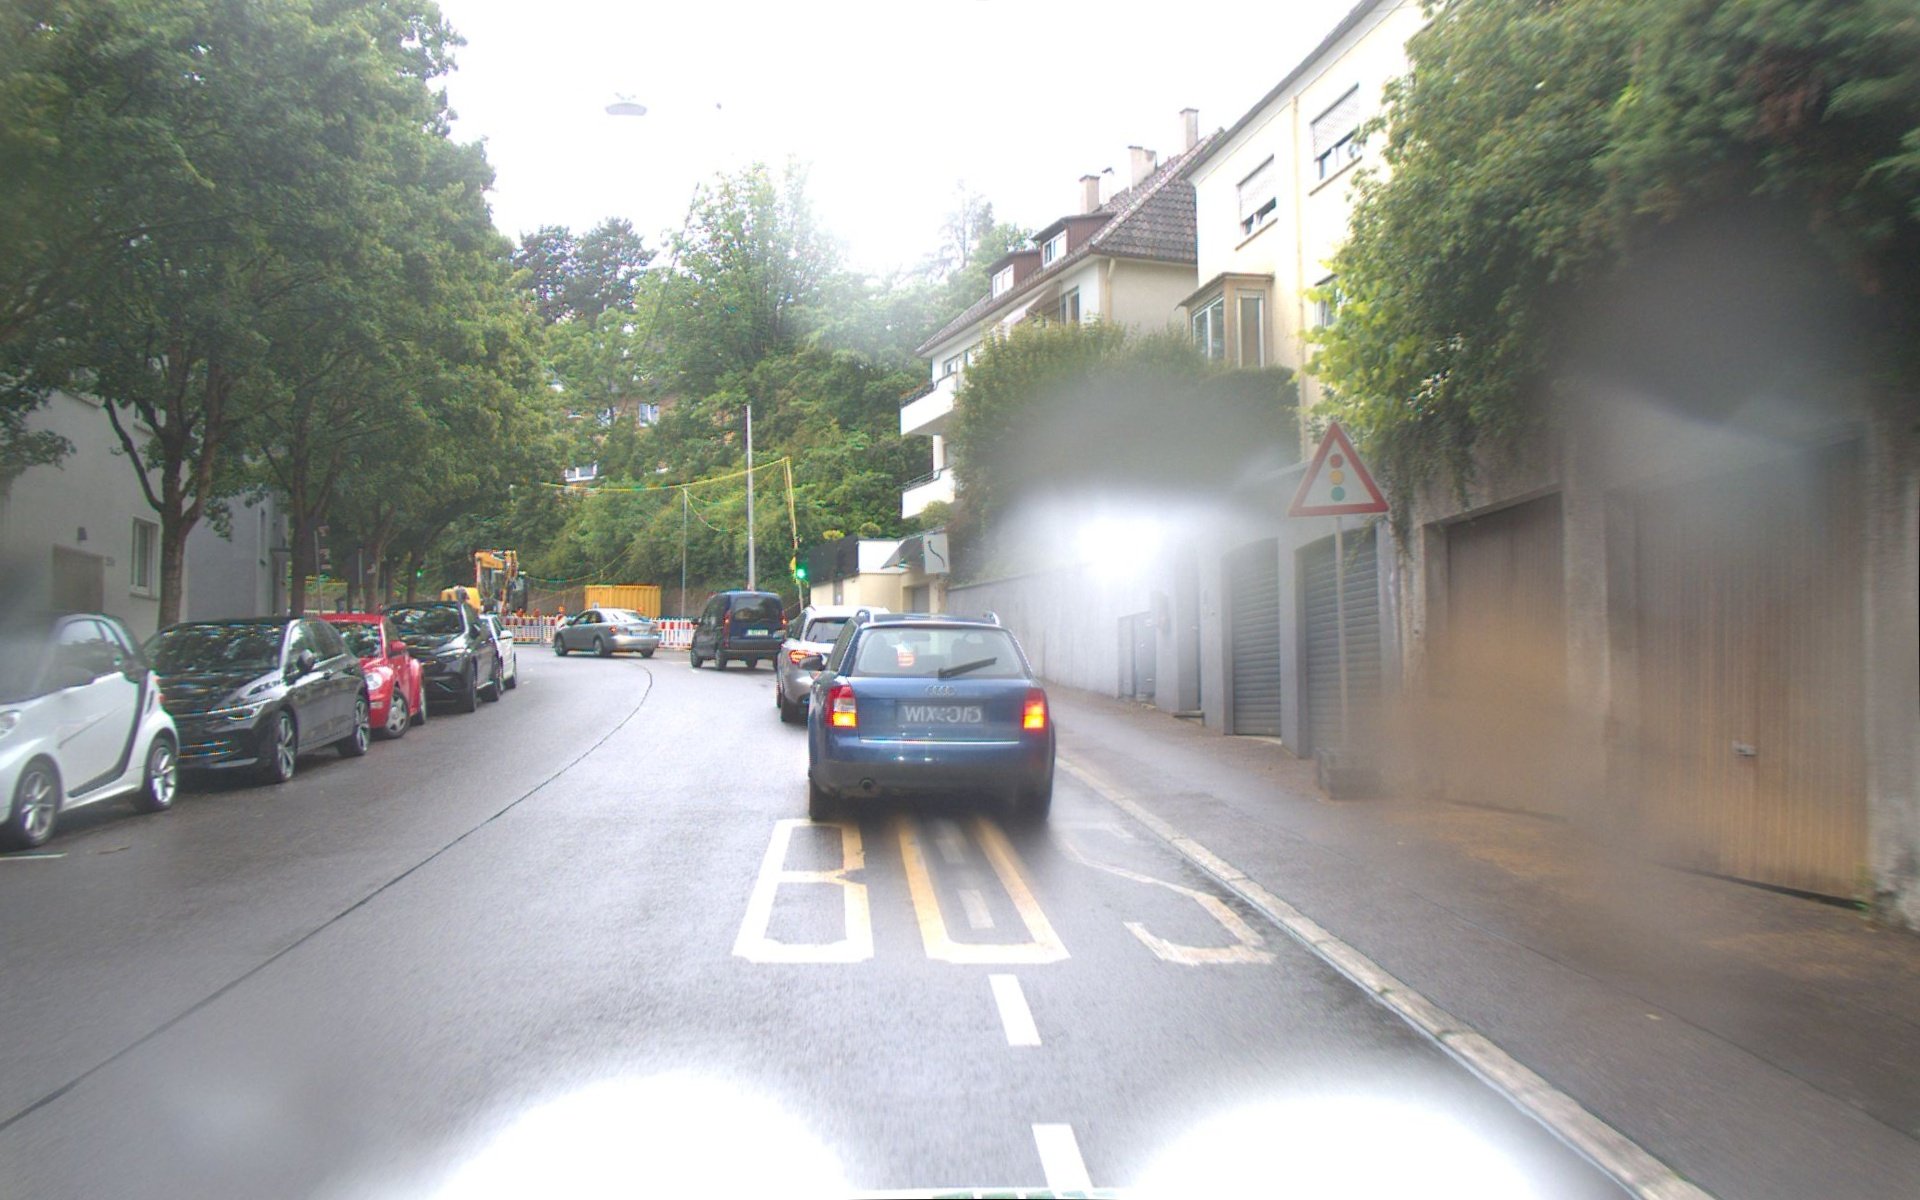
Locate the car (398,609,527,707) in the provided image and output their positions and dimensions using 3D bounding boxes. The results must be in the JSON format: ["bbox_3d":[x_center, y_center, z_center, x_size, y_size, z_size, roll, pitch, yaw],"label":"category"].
[{"bbox_3d":[-9.143,1.008,30.699,1.651,1.534,4.306,-4,1,-9],"label":"car"}]

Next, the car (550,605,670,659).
[{"bbox_3d":[-10.535,0.969,49.611,1.712,1.512,4.013,-2,0,-42],"label":"car"}]

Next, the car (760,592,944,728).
[{"bbox_3d":[-1.566,0.721,22.376,1.892,1.646,4.307,0,0,-12],"label":"car"}]

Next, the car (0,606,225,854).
[{"bbox_3d":[-6.775,0.885,11.909,1.525,1.537,3.381,-4,-1,-3],"label":"car"}]

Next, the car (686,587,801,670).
[{"bbox_3d":[-5.260,0.663,39.814,1.964,1.825,3.978,-2,0,-19],"label":"car"}]

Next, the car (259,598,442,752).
[{"bbox_3d":[-7.446,0.886,20.512,1.606,1.592,3.834,-5,0,-14],"label":"car"}]

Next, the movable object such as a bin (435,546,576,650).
[{"bbox_3d":[-18.815,-0.090,68.195,2.804,4.084,7.217,0,0,-41],"label":"movable object such as a bin"}]

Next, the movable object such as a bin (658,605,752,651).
[{"bbox_3d":[-9.220,0.990,59.575,1.974,1.546,3.957,1,0,-31],"label":"movable object such as a bin"}]

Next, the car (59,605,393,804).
[{"bbox_3d":[-6.740,0.892,15.664,1.525,1.514,4.093,-4,-1,-5],"label":"car"}]

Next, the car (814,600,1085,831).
[{"bbox_3d":[-0.226,0.745,12.635,1.751,1.467,3.959,0,0,-5],"label":"car"}]

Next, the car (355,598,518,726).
[{"bbox_3d":[-8.081,0.875,25.900,1.652,1.636,4.566,-6,1,-9],"label":"car"}]
